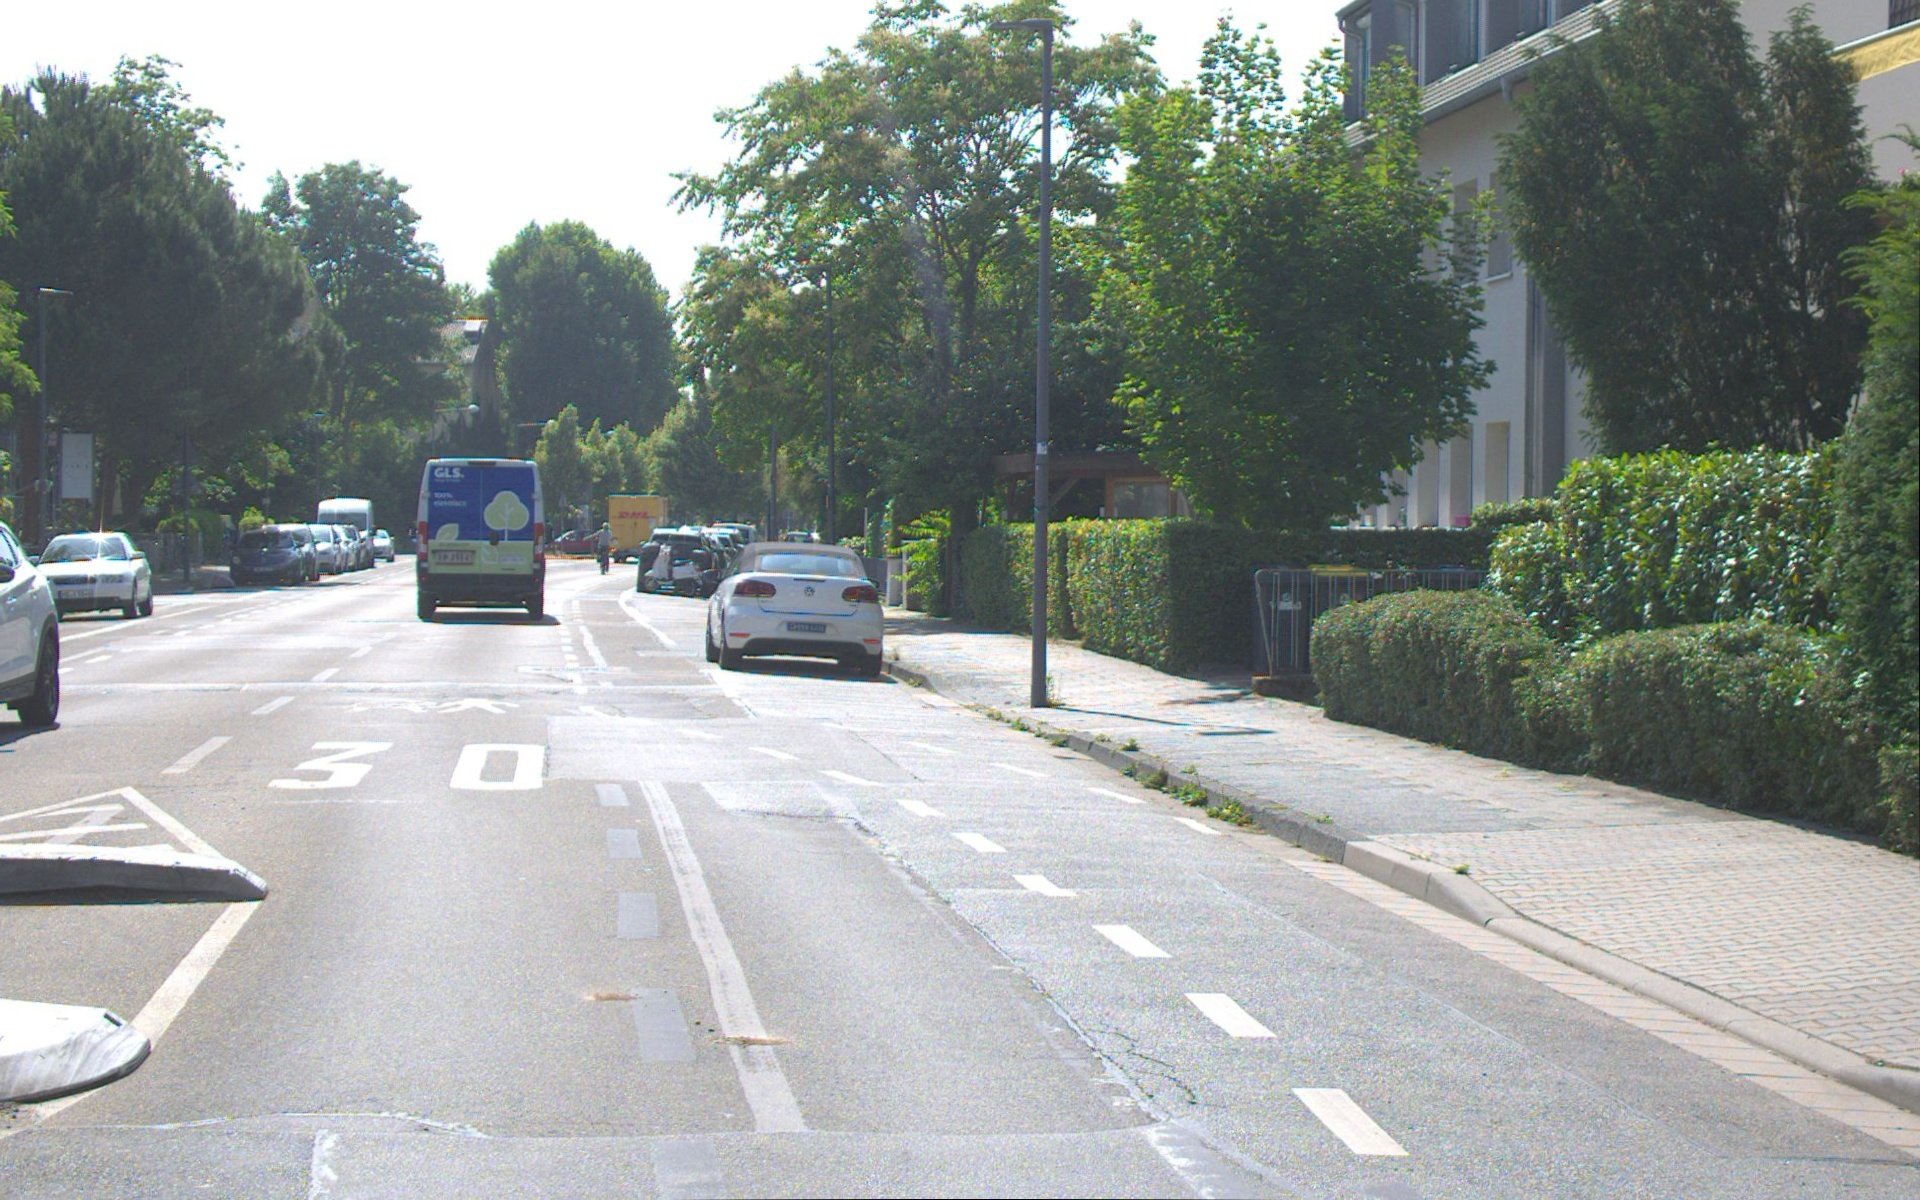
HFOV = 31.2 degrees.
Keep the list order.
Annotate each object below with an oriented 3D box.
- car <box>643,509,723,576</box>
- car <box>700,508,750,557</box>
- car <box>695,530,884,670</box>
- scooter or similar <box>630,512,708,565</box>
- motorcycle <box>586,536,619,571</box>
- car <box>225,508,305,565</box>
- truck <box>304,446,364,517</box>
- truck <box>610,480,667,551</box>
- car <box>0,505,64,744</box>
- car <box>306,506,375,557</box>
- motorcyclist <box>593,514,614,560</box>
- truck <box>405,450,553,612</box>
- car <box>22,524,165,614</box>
[{"bbox_3d":[-6.951,-1.451,86.048,1.784,1.632,4.471,0,1,-7],"label":"car"},{"bbox_3d":[-8.217,-2.359,120.275,1.700,1.671,3.776,0,2,-4],"label":"car"},{"bbox_3d":[-1.961,-0.043,38.460,1.740,1.397,4.075,2,1,-8],"label":"car"},{"bbox_3d":[-7.066,-1.489,83.356,1.795,1.150,0.718,5,1,38],"label":"scooter or similar"},{"bbox_3d":[-11.794,-1.526,113.234,1.056,1.118,2.993,0,1,-6],"label":"motorcycle"},{"bbox_3d":[-18.473,-1.709,91.517,1.780,1.455,4.087,1,1,-8],"label":"car"},{"bbox_3d":[-22.973,-4.336,126.378,2.080,2.528,5.469,0,2,-9],"label":"truck"},{"bbox_3d":[-13.600,-3.555,145.724,2.214,2.936,5.687,0,1,-3],"label":"truck"},{"bbox_3d":[-7.695,0.179,24.295,1.914,1.661,4.507,-1,1,-6],"label":"car"},{"bbox_3d":[-19.594,-2.167,108.818,1.834,1.590,3.776,0,1,-5],"label":"car"},{"bbox_3d":[-11.728,-2.069,113.025,0.672,1.513,0.652,0,1,-6],"label":"motorcyclist"},{"bbox_3d":[-7.982,-1.141,56.762,2.272,2.562,4.393,0,1,-10],"label":"truck"},{"bbox_3d":[-14.356,-0.540,57.141,1.785,1.435,4.001,0,1,-7],"label":"car"}]
